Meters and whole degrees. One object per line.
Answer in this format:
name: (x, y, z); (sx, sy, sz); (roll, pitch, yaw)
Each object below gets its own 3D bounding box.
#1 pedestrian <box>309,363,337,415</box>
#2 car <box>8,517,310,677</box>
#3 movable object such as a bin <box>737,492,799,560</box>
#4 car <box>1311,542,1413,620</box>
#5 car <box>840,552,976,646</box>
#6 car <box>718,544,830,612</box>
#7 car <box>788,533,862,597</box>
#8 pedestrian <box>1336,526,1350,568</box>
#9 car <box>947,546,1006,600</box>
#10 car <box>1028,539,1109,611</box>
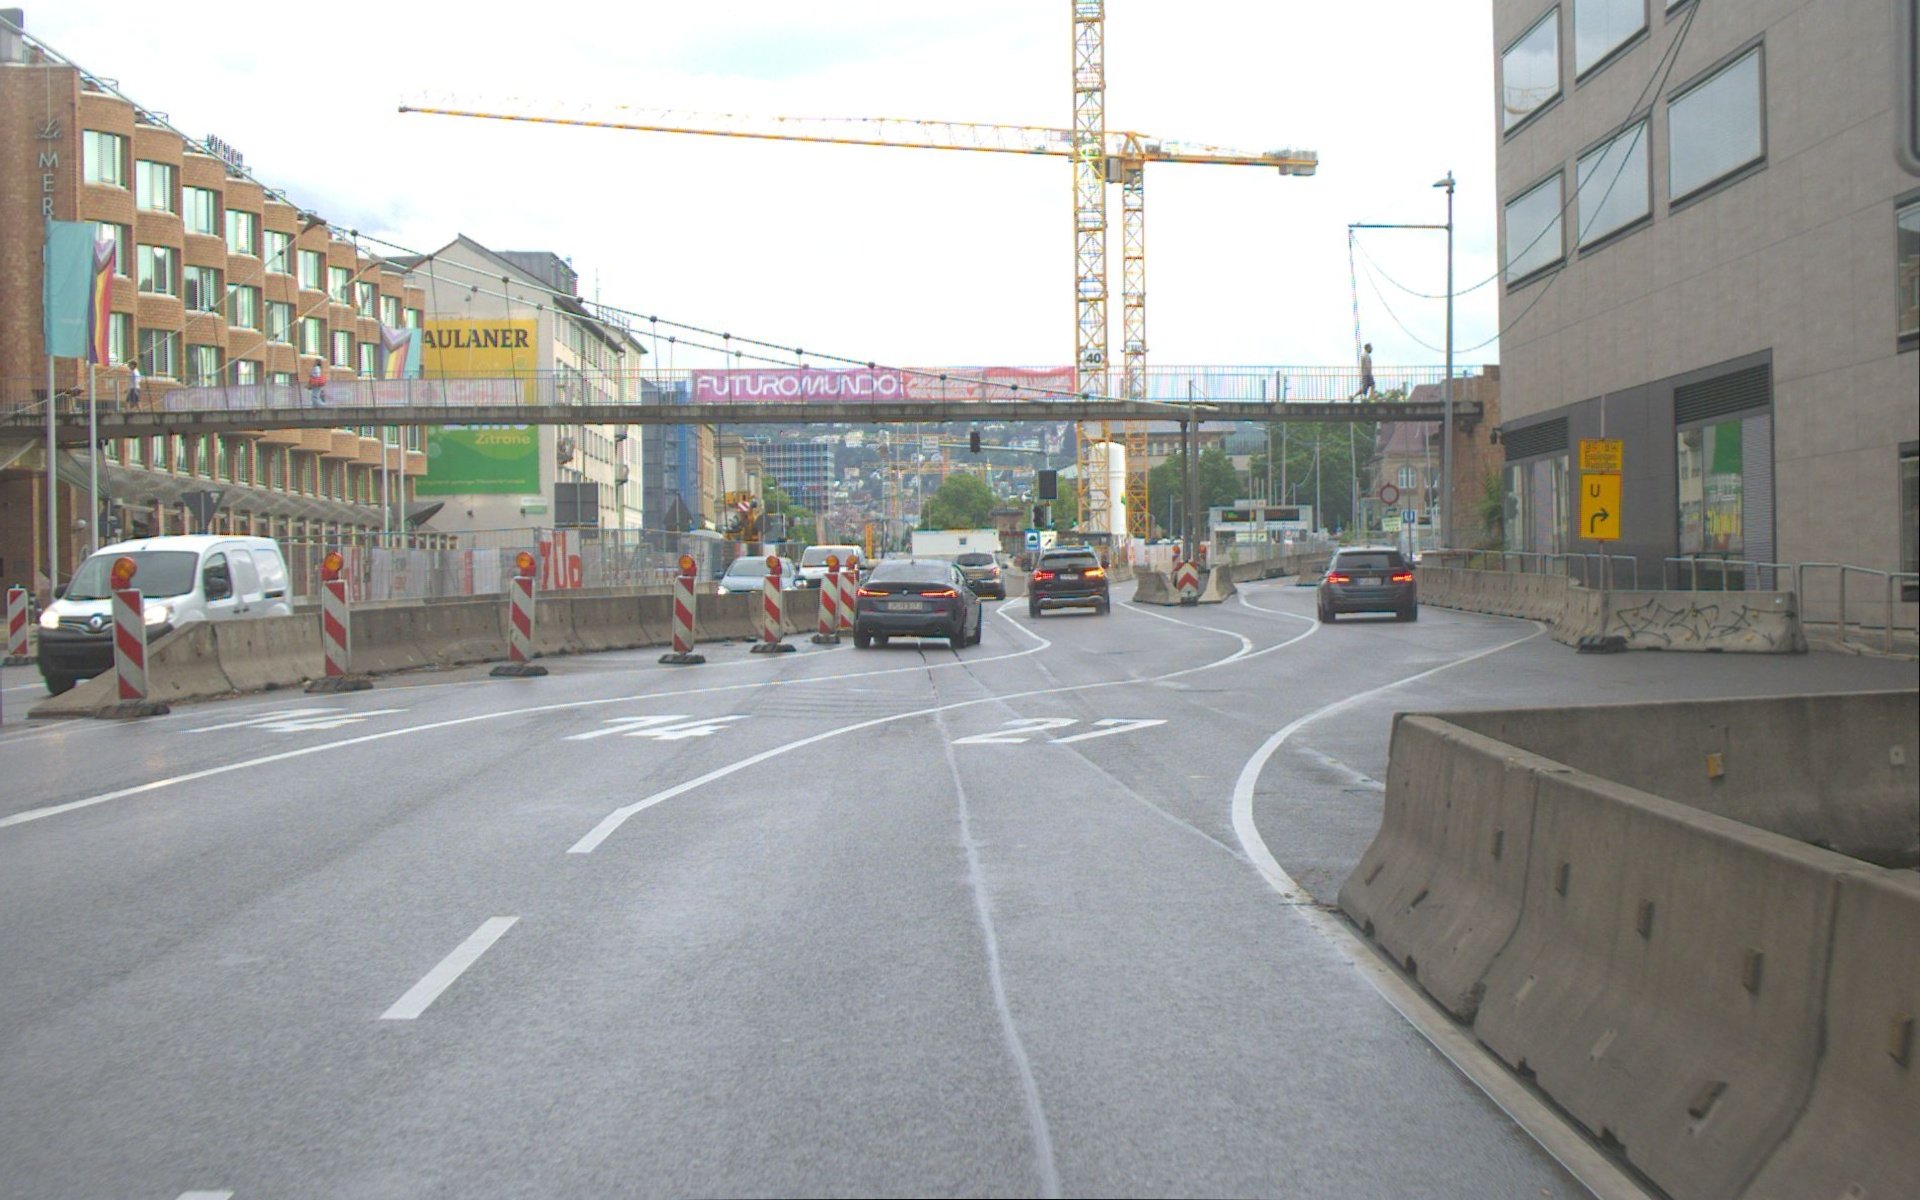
pedestrian: (-18.571, -6.152, 100.203); (0.620, 1.447, 0.618); (-2, 1, 4)
car: (-9.417, -0.073, 40.853); (1.886, 1.777, 4.876); (0, 1, 8)
movable object such as a bin: (-6.914, -2.652, 124.118); (2.026, 2.269, 4.293); (-4, 1, -3)
car: (7.696, -0.388, 65.959); (1.863, 1.428, 4.655); (0, 1, 6)
car: (-0.815, -0.047, 56.404); (1.863, 1.438, 4.656); (-1, 1, 4)
car: (-4.110, -0.519, 76.641); (1.994, 1.454, 4.228); (-1, 1, 4)
car: (-4.028, -1.060, 103.189); (1.993, 1.878, 4.870); (-1, 1, 0)
pedestrian: (18.740, -2.597, 168.140); (0.626, 2.007, 0.663); (-1, 1, 12)
car: (0.528, -0.920, 114.659); (1.863, 1.759, 4.656); (-1, 1, -1)
car: (2.614, -0.622, 82.442); (1.863, 1.655, 4.656); (-1, 1, 2)
